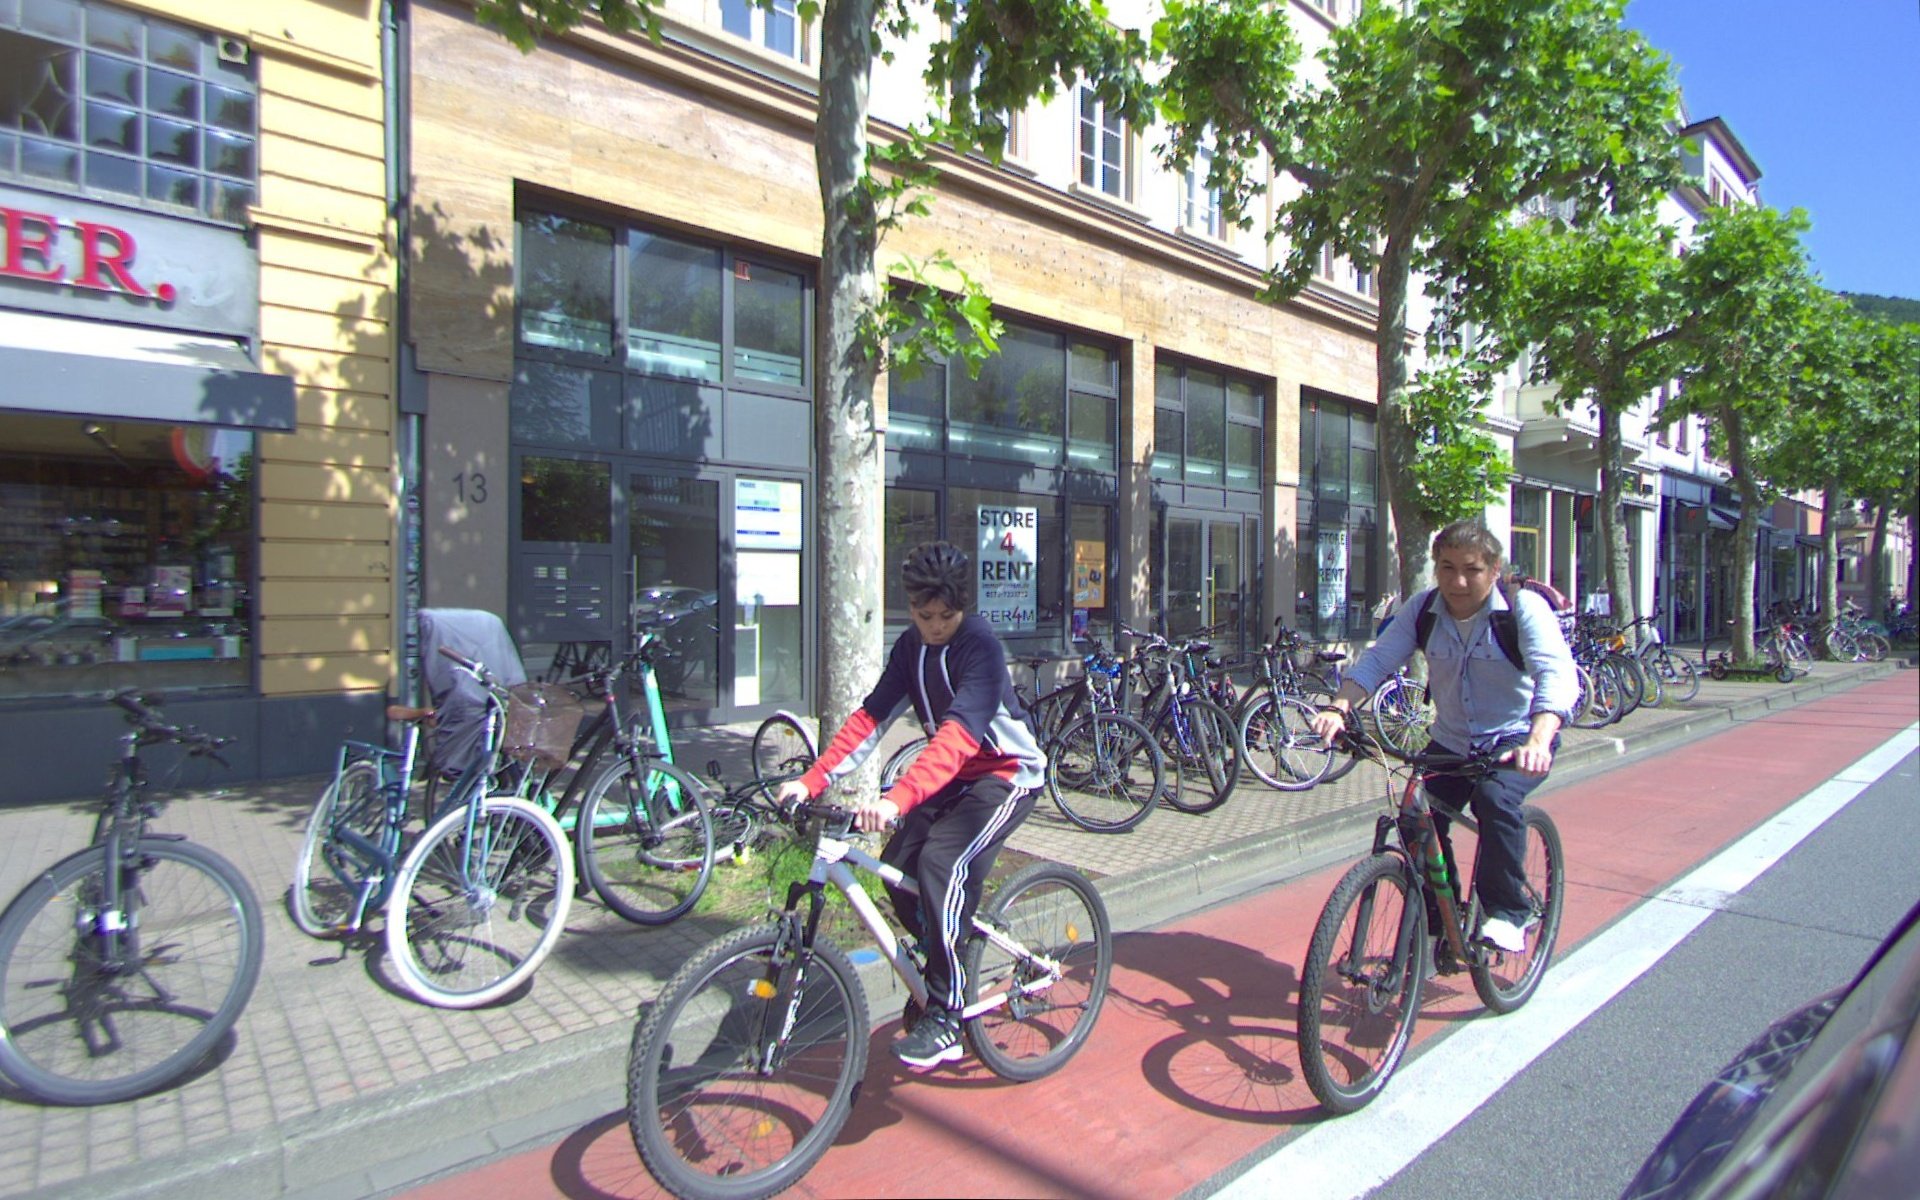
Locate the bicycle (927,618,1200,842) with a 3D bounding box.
[{"bbox_3d":[0.589,0.725,6.466,0.647,1.179,1.848,0,0,-38],"label":"bicycle"}]

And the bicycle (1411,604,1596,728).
[{"bbox_3d":[5.863,0.666,11.011,0.469,1.232,1.733,0,0,-38],"label":"bicycle"}]

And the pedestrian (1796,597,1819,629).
[{"bbox_3d":[34.660,0.519,41.383,0.598,1.268,0.640,-1,3,-43],"label":"pedestrian"}]

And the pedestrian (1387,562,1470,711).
[{"bbox_3d":[5.363,0.394,11.589,0.731,1.633,0.616,0,0,-40],"label":"pedestrian"}]

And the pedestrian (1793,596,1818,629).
[{"bbox_3d":[34.226,0.500,40.986,0.523,1.269,0.682,1,1,-43],"label":"pedestrian"}]

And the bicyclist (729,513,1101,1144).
[{"bbox_3d":[-0.127,0.529,2.873,0.777,1.459,0.699,0,-1,-44],"label":"bicyclist"}]

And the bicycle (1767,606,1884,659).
[{"bbox_3d":[19.230,0.694,22.515,0.779,1.111,1.846,0,0,-35],"label":"bicycle"}]

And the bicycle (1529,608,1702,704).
[{"bbox_3d":[8.381,0.677,12.995,0.723,1.123,1.733,0,0,-38],"label":"bicycle"}]

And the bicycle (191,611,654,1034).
[{"bbox_3d":[-2.122,0.694,3.914,1.923,1.273,0.697,0,0,31],"label":"bicycle"}]

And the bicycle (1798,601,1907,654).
[{"bbox_3d":[21.303,0.630,24.202,0.660,1.212,1.847,0,0,-33],"label":"bicycle"}]

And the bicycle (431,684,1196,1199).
[{"bbox_3d":[-0.229,0.884,2.763,2.047,1.141,0.699,0,-1,-44],"label":"bicycle"}]

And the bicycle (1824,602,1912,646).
[{"bbox_3d":[25.704,0.662,28.681,1.760,1.212,0.573,0,0,23],"label":"bicycle"}]

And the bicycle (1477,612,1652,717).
[{"bbox_3d":[7.092,0.720,11.955,0.469,1.123,1.733,0,0,-38],"label":"bicycle"}]

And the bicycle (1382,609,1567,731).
[{"bbox_3d":[5.433,0.696,10.782,0.469,1.176,1.733,0,0,-38],"label":"bicycle"}]

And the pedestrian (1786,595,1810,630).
[{"bbox_3d":[33.348,0.485,40.288,0.523,1.349,0.682,1,0,-43],"label":"pedestrian"}]

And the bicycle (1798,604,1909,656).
[{"bbox_3d":[20.619,0.678,23.386,0.487,1.141,1.848,0,-1,-29],"label":"bicycle"}]

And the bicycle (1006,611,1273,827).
[{"bbox_3d":[1.132,0.699,6.781,0.597,1.216,1.848,0,0,-38],"label":"bicycle"}]

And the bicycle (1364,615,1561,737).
[{"bbox_3d":[5.107,0.730,10.389,0.595,1.109,1.733,0,0,-38],"label":"bicycle"}]

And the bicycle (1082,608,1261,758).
[{"bbox_3d":[1.867,0.684,8.849,1.621,1.203,0.475,0,0,-29],"label":"bicycle"}]

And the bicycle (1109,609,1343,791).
[{"bbox_3d":[1.976,0.687,7.782,0.465,1.216,1.848,0,0,-38],"label":"bicycle"}]

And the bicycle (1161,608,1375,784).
[{"bbox_3d":[2.364,0.684,7.950,0.465,1.216,1.653,0,0,-38],"label":"bicycle"}]

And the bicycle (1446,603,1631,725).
[{"bbox_3d":[6.346,0.660,11.184,0.469,1.232,1.733,0,0,-38],"label":"bicycle"}]

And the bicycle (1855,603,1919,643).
[{"bbox_3d":[27.244,0.675,29.386,1.838,1.141,0.490,-2,-3,42],"label":"bicycle"}]

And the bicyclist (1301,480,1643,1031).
[{"bbox_3d":[1.672,0.412,3.281,0.945,1.464,0.699,0,-1,-44],"label":"bicyclist"}]

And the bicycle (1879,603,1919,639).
[{"bbox_3d":[30.569,0.659,32.232,1.836,1.141,0.623,-2,-1,40],"label":"bicycle"}]

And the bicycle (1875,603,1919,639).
[{"bbox_3d":[31.334,0.670,33.218,1.835,1.141,0.755,-2,0,37],"label":"bicycle"}]

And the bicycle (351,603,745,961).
[{"bbox_3d":[-1.876,0.682,4.537,1.811,1.325,0.682,0,0,30],"label":"bicycle"}]

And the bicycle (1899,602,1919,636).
[{"bbox_3d":[33.264,0.648,34.472,1.819,1.141,0.591,0,1,14],"label":"bicycle"}]

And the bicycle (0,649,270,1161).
[{"bbox_3d":[-2.760,0.790,3.328,0.553,1.136,1.784,0,1,-43],"label":"bicycle"}]

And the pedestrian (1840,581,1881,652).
[{"bbox_3d":[22.171,0.406,24.928,0.829,1.711,0.639,1,-3,-43],"label":"pedestrian"}]

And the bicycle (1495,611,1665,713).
[{"bbox_3d":[7.426,0.702,12.198,0.395,1.123,1.733,0,0,-38],"label":"bicycle"}]

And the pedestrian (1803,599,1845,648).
[{"bbox_3d":[22.773,0.605,26.678,0.566,1.258,0.788,-1,0,-43],"label":"pedestrian"}]

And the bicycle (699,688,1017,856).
[{"bbox_3d":[-0.626,0.950,5.955,1.833,0.725,0.652,0,0,29],"label":"bicycle"}]

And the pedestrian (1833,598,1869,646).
[{"bbox_3d":[23.559,0.578,26.751,0.587,1.248,0.640,-1,0,-43],"label":"pedestrian"}]

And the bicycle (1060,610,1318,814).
[{"bbox_3d":[1.531,0.690,7.079,0.535,1.216,1.848,0,0,-38],"label":"bicycle"}]

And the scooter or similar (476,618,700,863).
[{"bbox_3d":[-2.044,0.712,5.694,0.418,1.193,1.219,0,0,28],"label":"scooter or similar"}]

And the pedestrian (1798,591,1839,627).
[{"bbox_3d":[36.838,0.379,43.438,0.823,1.502,1.253,0,0,-43],"label":"pedestrian"}]

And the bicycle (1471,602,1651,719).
[{"bbox_3d":[6.878,0.646,11.658,0.469,1.232,1.733,0,0,-38],"label":"bicycle"}]

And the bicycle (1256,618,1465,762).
[{"bbox_3d":[3.489,0.733,8.936,0.595,1.109,1.653,0,0,-38],"label":"bicycle"}]

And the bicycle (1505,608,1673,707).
[{"bbox_3d":[7.717,0.671,12.484,0.395,1.123,1.733,0,0,-38],"label":"bicycle"}]

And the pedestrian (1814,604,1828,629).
[{"bbox_3d":[34.423,0.667,40.462,0.429,0.980,0.342,1,0,-39],"label":"pedestrian"}]

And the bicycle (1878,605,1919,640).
[{"bbox_3d":[30.874,0.718,32.631,1.837,1.107,0.556,-1,-1,40],"label":"bicycle"}]

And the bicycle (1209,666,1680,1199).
[{"bbox_3d":[1.672,0.850,3.275,2.047,1.141,0.699,0,-1,-44],"label":"bicycle"}]

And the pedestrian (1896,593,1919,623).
[{"bbox_3d":[54.271,0.440,57.774,0.892,1.630,0.970,1,4,21],"label":"pedestrian"}]

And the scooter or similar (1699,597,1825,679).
[{"bbox_3d":[13.334,0.608,16.862,0.656,1.291,1.481,0,-1,-29],"label":"scooter or similar"}]

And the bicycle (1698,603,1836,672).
[{"bbox_3d":[14.735,0.661,18.535,0.657,1.201,1.845,0,-1,-35],"label":"bicycle"}]

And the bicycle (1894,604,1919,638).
[{"bbox_3d":[32.276,0.695,33.579,0.554,1.107,1.843,0,-1,-40],"label":"bicycle"}]

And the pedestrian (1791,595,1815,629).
[{"bbox_3d":[33.842,0.477,40.612,0.523,1.355,0.682,1,0,-43],"label":"pedestrian"}]

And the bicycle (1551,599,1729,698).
[{"bbox_3d":[9.394,0.623,14.054,0.723,1.264,1.936,0,0,-38],"label":"bicycle"}]
